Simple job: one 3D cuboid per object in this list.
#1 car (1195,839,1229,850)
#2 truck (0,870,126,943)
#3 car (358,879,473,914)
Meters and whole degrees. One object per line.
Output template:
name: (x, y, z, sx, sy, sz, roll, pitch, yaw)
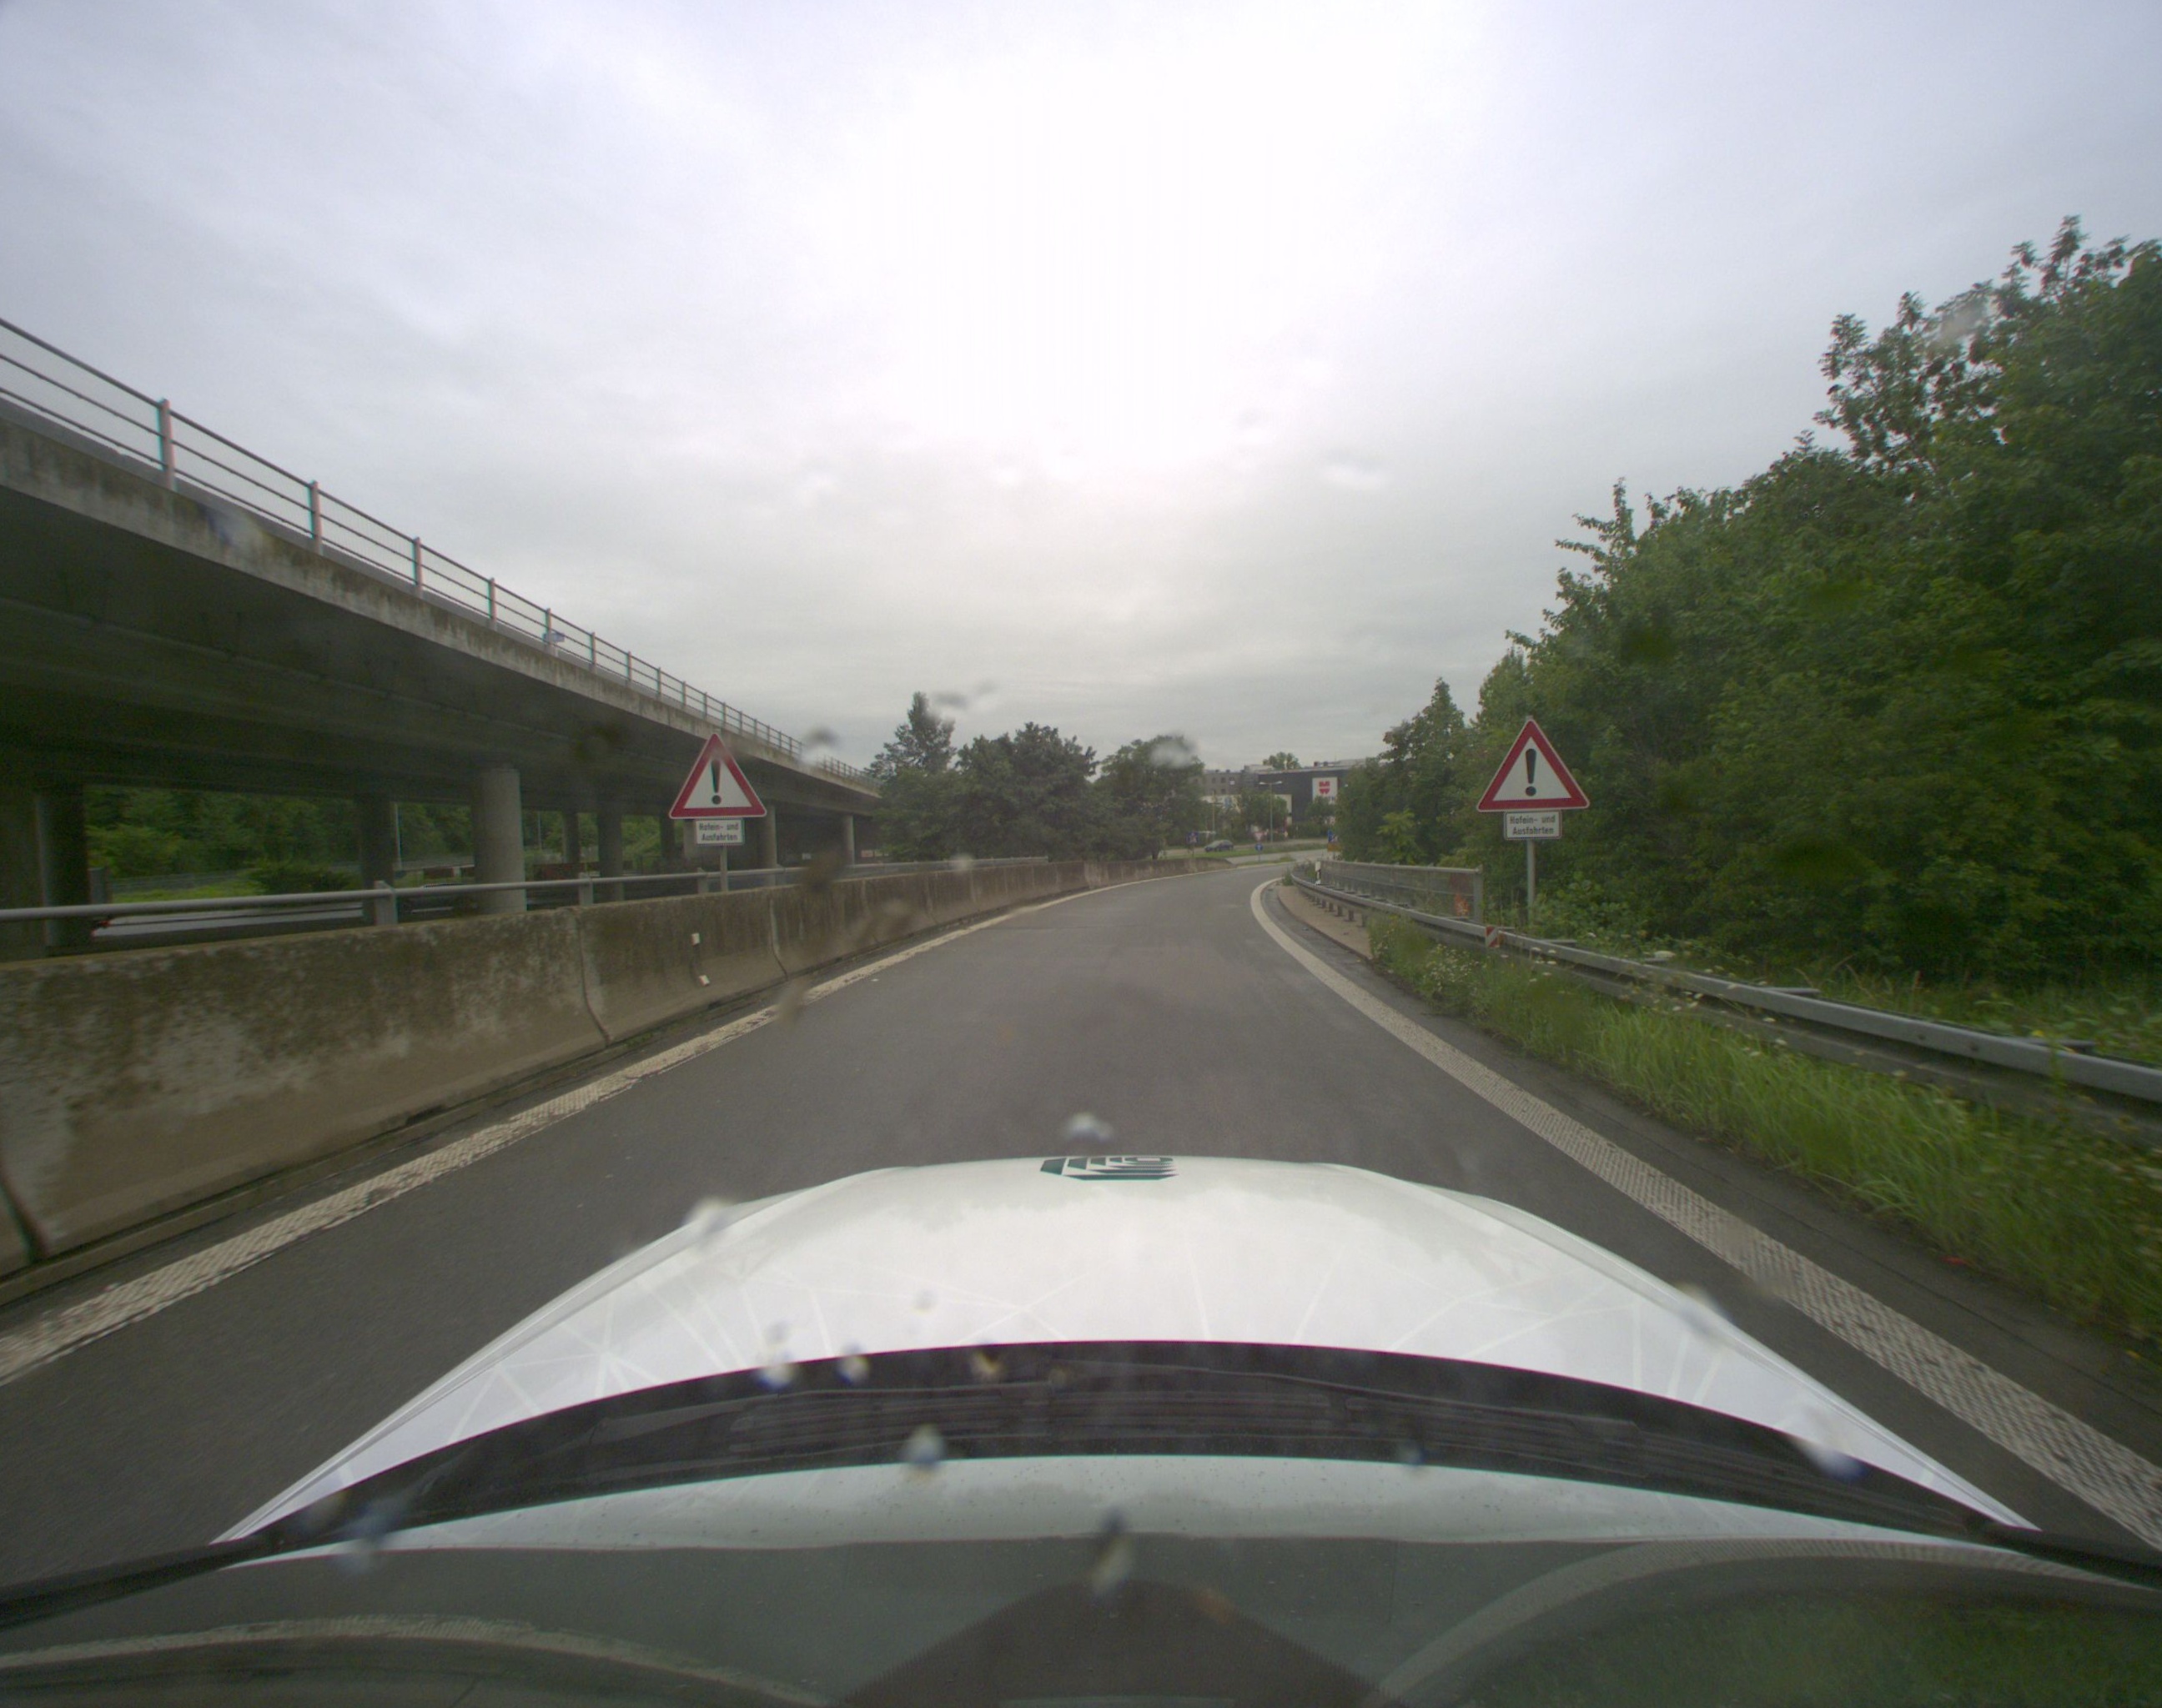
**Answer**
car: (17.390, -1.274, 107.933, 1.951, 1.396, 4.845, 0, 1, 45)
truck: (-46.442, 2.285, 34.705, 7.275, 2.977, 2.232, -1, -1, -45)
car: (-36.751, 2.302, 45.062, 1.950, 1.583, 4.620, -2, 0, 42)
